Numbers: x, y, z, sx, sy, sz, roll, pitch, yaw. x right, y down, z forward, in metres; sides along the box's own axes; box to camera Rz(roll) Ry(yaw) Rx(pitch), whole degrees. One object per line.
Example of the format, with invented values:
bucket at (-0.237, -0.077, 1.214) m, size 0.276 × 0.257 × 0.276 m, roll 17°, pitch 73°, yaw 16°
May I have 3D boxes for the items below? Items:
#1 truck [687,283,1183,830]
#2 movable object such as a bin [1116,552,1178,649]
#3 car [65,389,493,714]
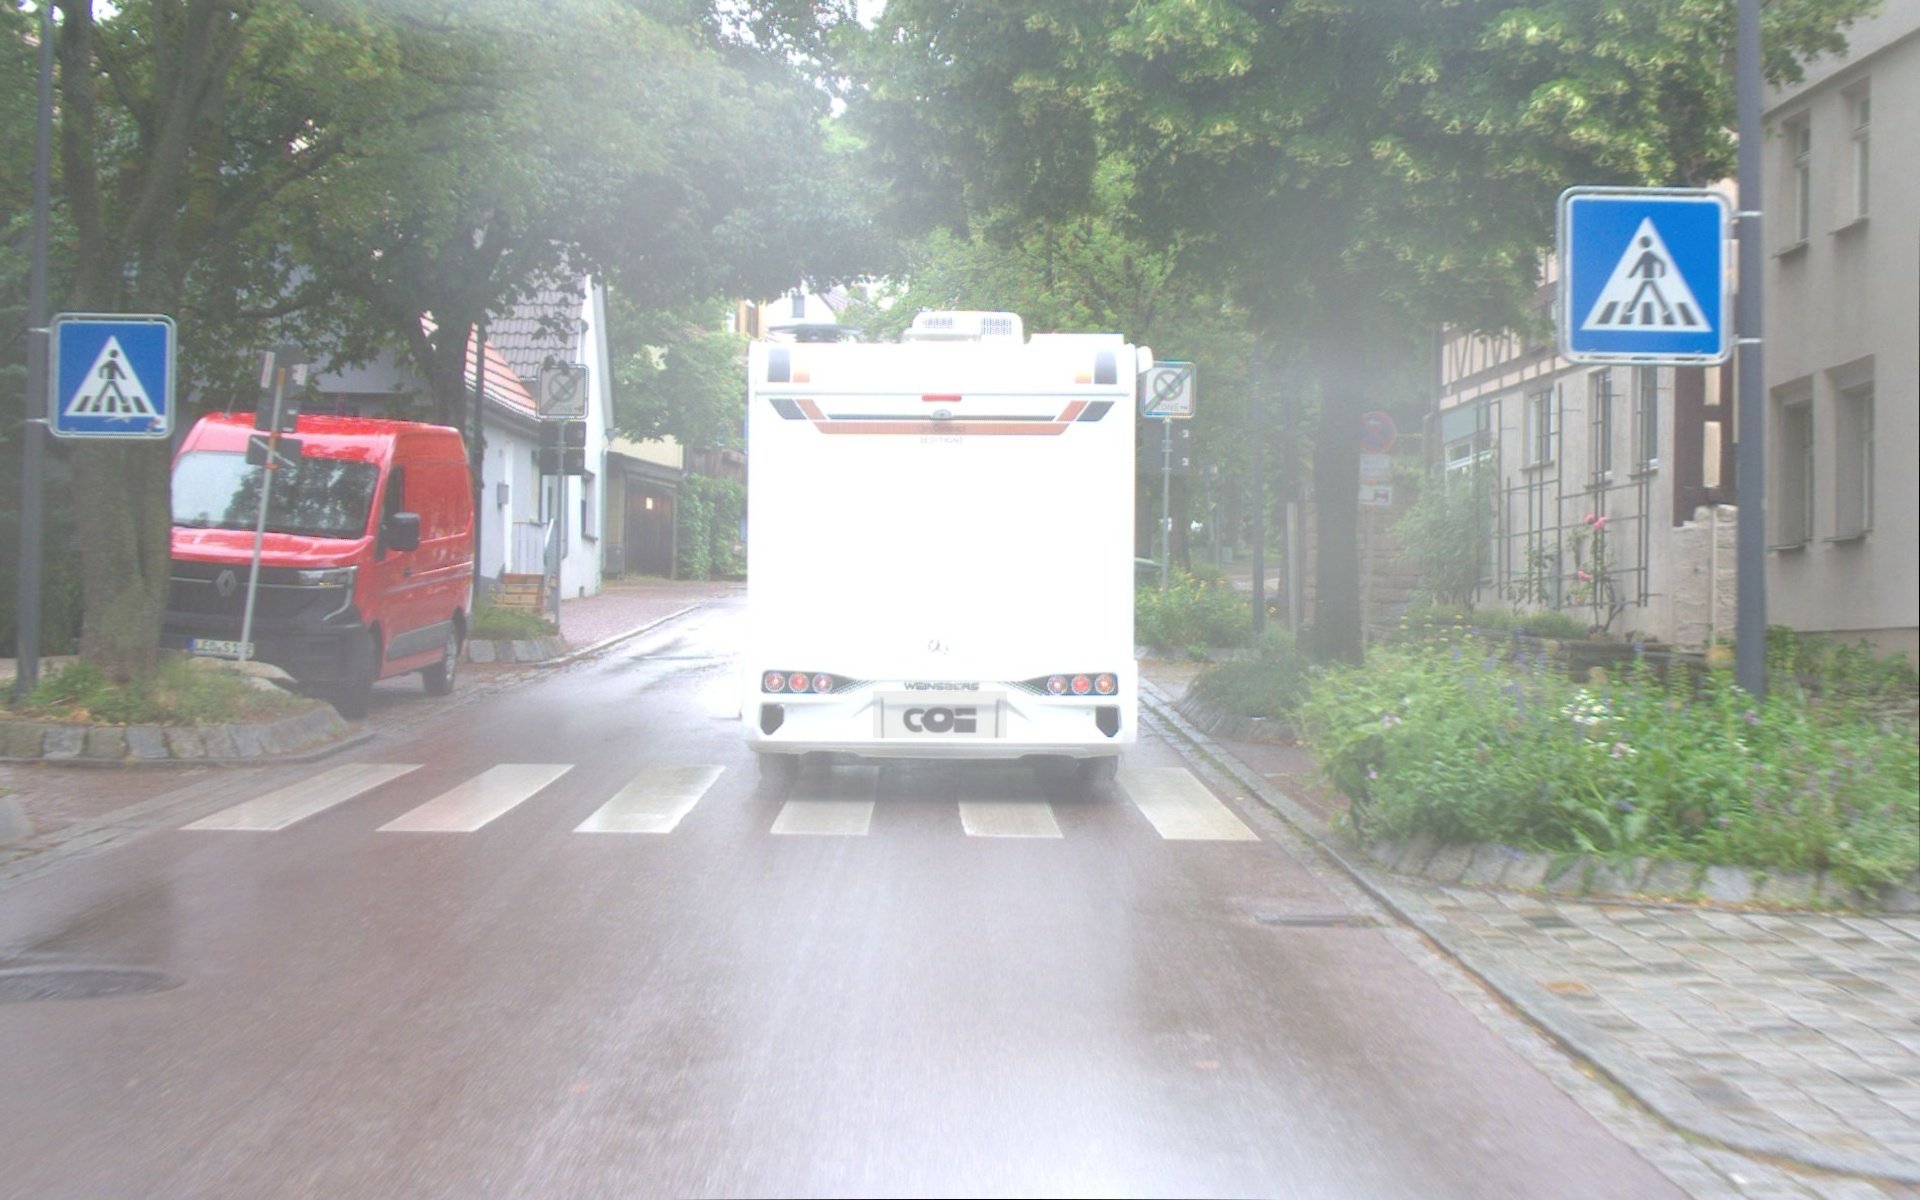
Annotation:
truck at (-0.168, -0.267, 22.215) m, size 2.694 × 2.975 × 6.237 m, roll 1°, pitch 0°, yaw -1°
movable object such as a bin at (2.387, -0.003, 43.906) m, size 0.721 × 1.208 × 0.727 m, roll 1°, pitch 1°, yaw 0°
car at (-5.695, -0.462, 29.625) m, size 2.303 × 2.474 × 5.785 m, roll 1°, pitch 2°, yaw 2°
